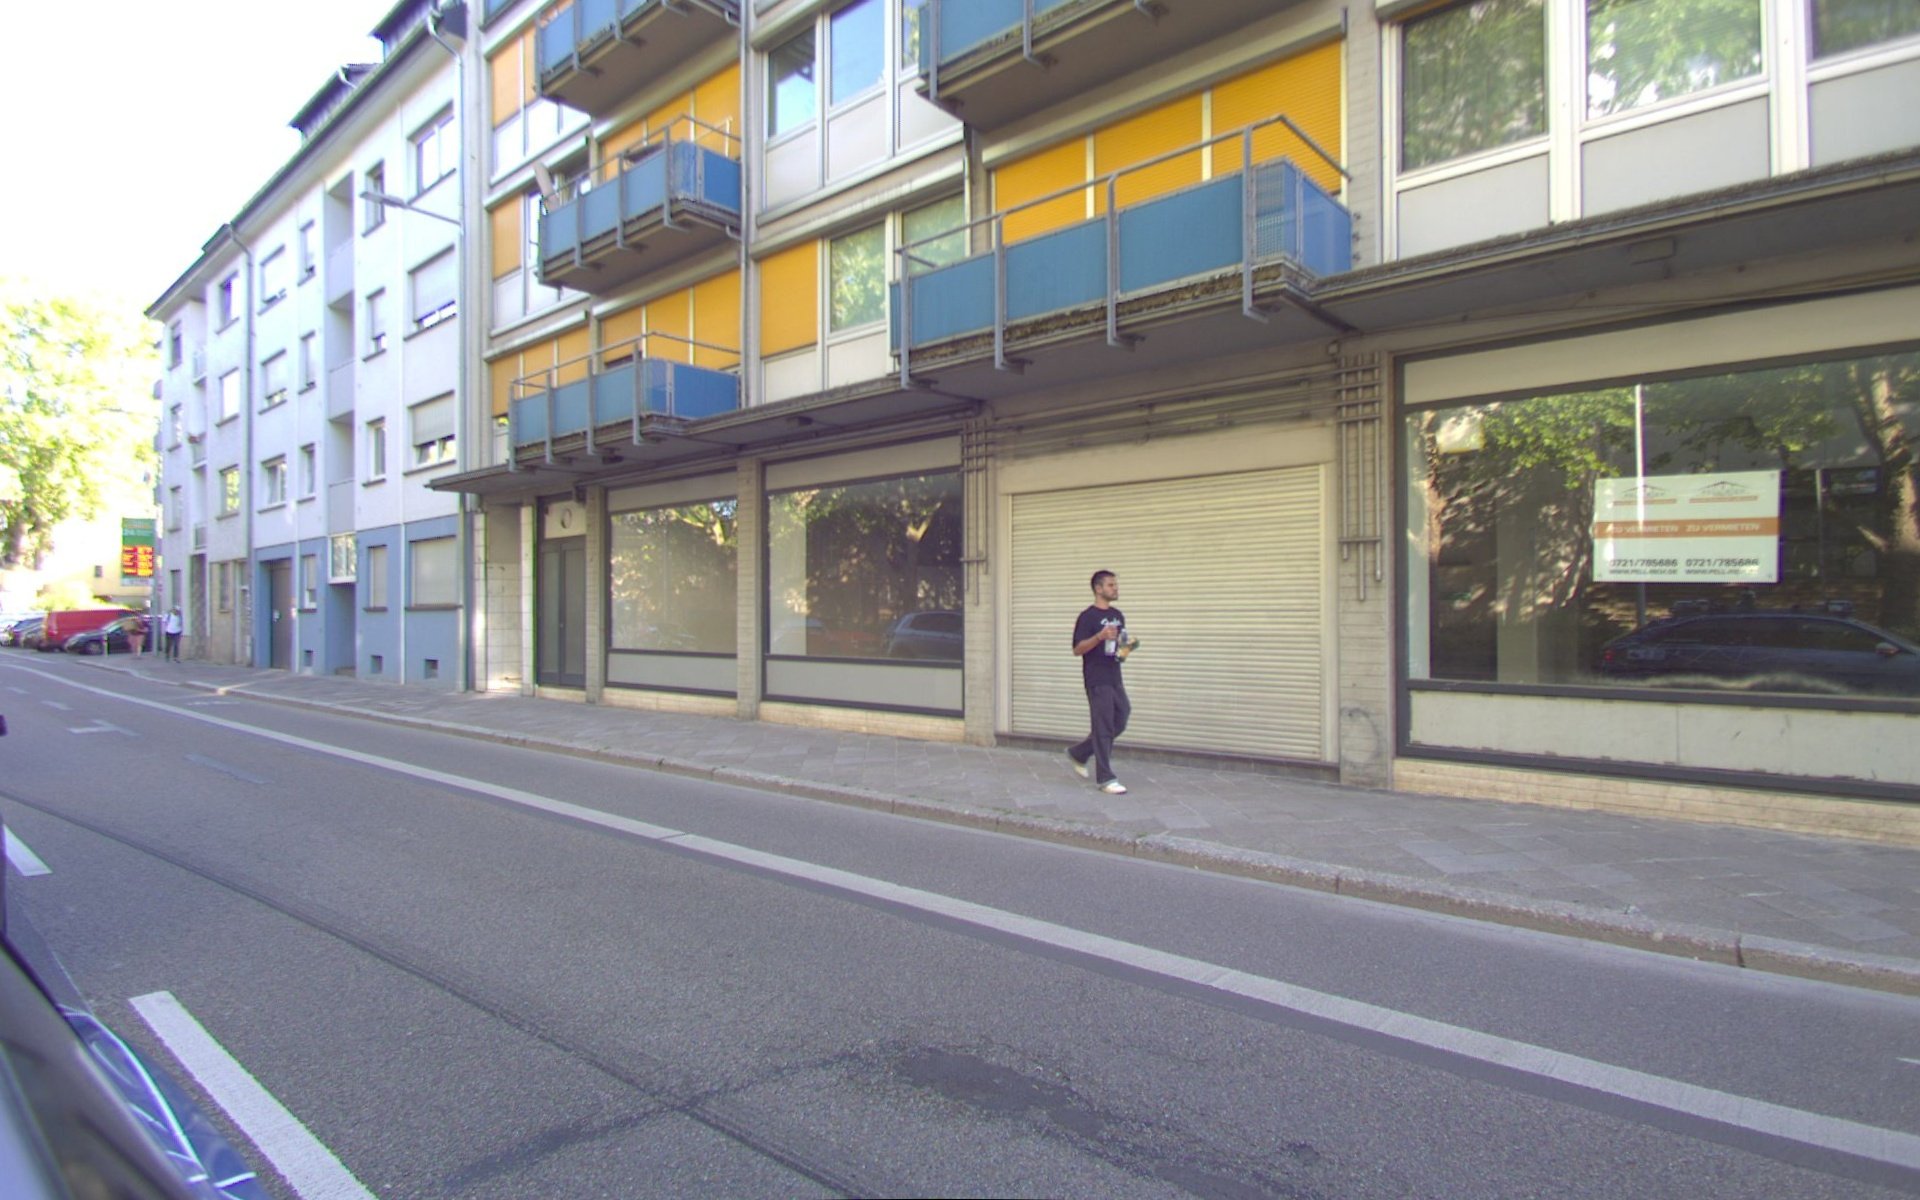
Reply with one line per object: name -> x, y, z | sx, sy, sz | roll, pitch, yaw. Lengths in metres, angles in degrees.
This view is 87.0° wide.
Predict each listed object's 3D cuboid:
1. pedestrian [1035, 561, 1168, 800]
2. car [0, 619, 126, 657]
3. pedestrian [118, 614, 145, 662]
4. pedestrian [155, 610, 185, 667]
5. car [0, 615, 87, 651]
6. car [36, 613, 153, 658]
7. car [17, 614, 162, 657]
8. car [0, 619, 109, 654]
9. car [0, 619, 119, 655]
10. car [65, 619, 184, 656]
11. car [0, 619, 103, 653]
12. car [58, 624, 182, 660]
pedestrian -> 1.128, 0.605, 8.062 | 0.793, 1.785, 0.655 | -1, -1, 41
car -> -50.300, 2.081, 56.841 | 2.186, 1.952, 5.077 | -1, -1, 41
pedestrian -> -28.759, 1.305, 35.137 | 0.842, 1.654, 0.596 | -1, 0, 41
pedestrian -> -25.265, 1.218, 32.370 | 0.756, 1.760, 0.600 | -1, 0, 41
car -> -59.347, 2.092, 64.724 | 2.186, 2.164, 5.077 | -1, -1, 41
car -> -40.592, 1.629, 47.527 | 1.866, 1.952, 3.946 | -1, -1, 41
car -> -42.693, 1.696, 49.725 | 2.256, 1.995, 5.156 | -1, -1, 41
car -> -54.125, 2.125, 60.366 | 2.082, 1.952, 4.928 | -1, -1, 41
car -> -52.239, 2.104, 58.729 | 2.159, 1.952, 4.990 | -1, -1, 41
car -> -37.879, 1.674, 45.954 | 1.742, 1.572, 3.946 | -1, -1, 41
car -> -55.973, 2.153, 61.998 | 2.314, 1.952, 4.978 | -1, -1, 41
car -> -36.555, 1.784, 44.088 | 1.742, 1.431, 3.946 | -1, -1, 41
